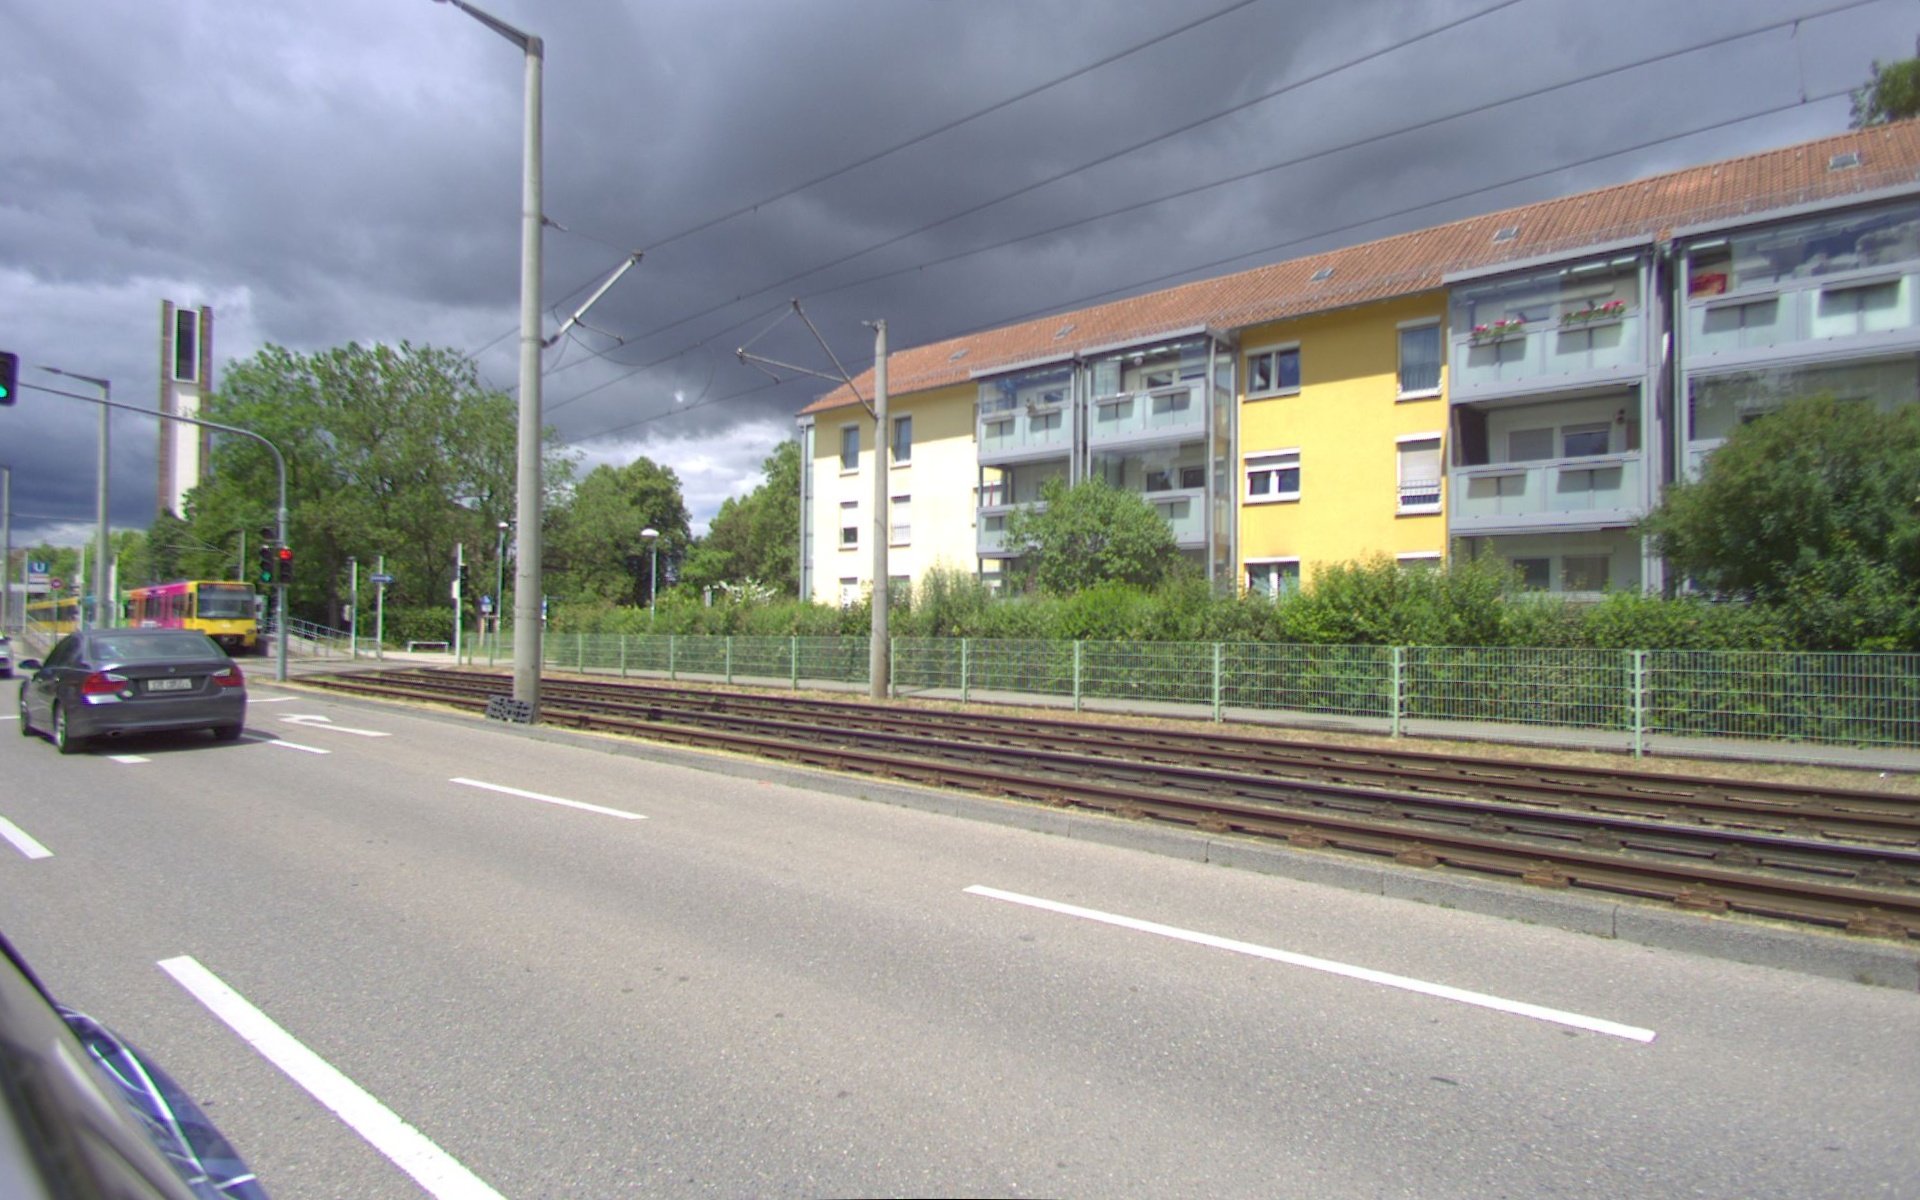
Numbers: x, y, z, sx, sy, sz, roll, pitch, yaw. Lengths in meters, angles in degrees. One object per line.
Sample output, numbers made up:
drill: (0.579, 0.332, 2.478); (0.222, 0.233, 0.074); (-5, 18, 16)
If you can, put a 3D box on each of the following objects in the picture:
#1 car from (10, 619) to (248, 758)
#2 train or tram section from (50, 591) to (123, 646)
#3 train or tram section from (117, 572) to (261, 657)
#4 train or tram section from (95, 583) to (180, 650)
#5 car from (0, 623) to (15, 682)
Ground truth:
car: (-10.466, 0.985, 12.642); (4.164, 1.443, 1.612); (-1, -1, 41)
train or tram section: (-67.312, 1.407, 77.863); (12.200, 3.892, 2.948); (-1, 0, 43)
train or tram section: (-41.267, 0.792, 53.700); (18.537, 3.892, 2.948); (-1, 0, 43)
train or tram section: (-51.153, 0.990, 62.869); (8.377, 3.892, 2.948); (-1, 0, 43)
car: (-27.372, 1.428, 27.740); (3.997, 1.564, 1.742); (-1, -1, 41)
